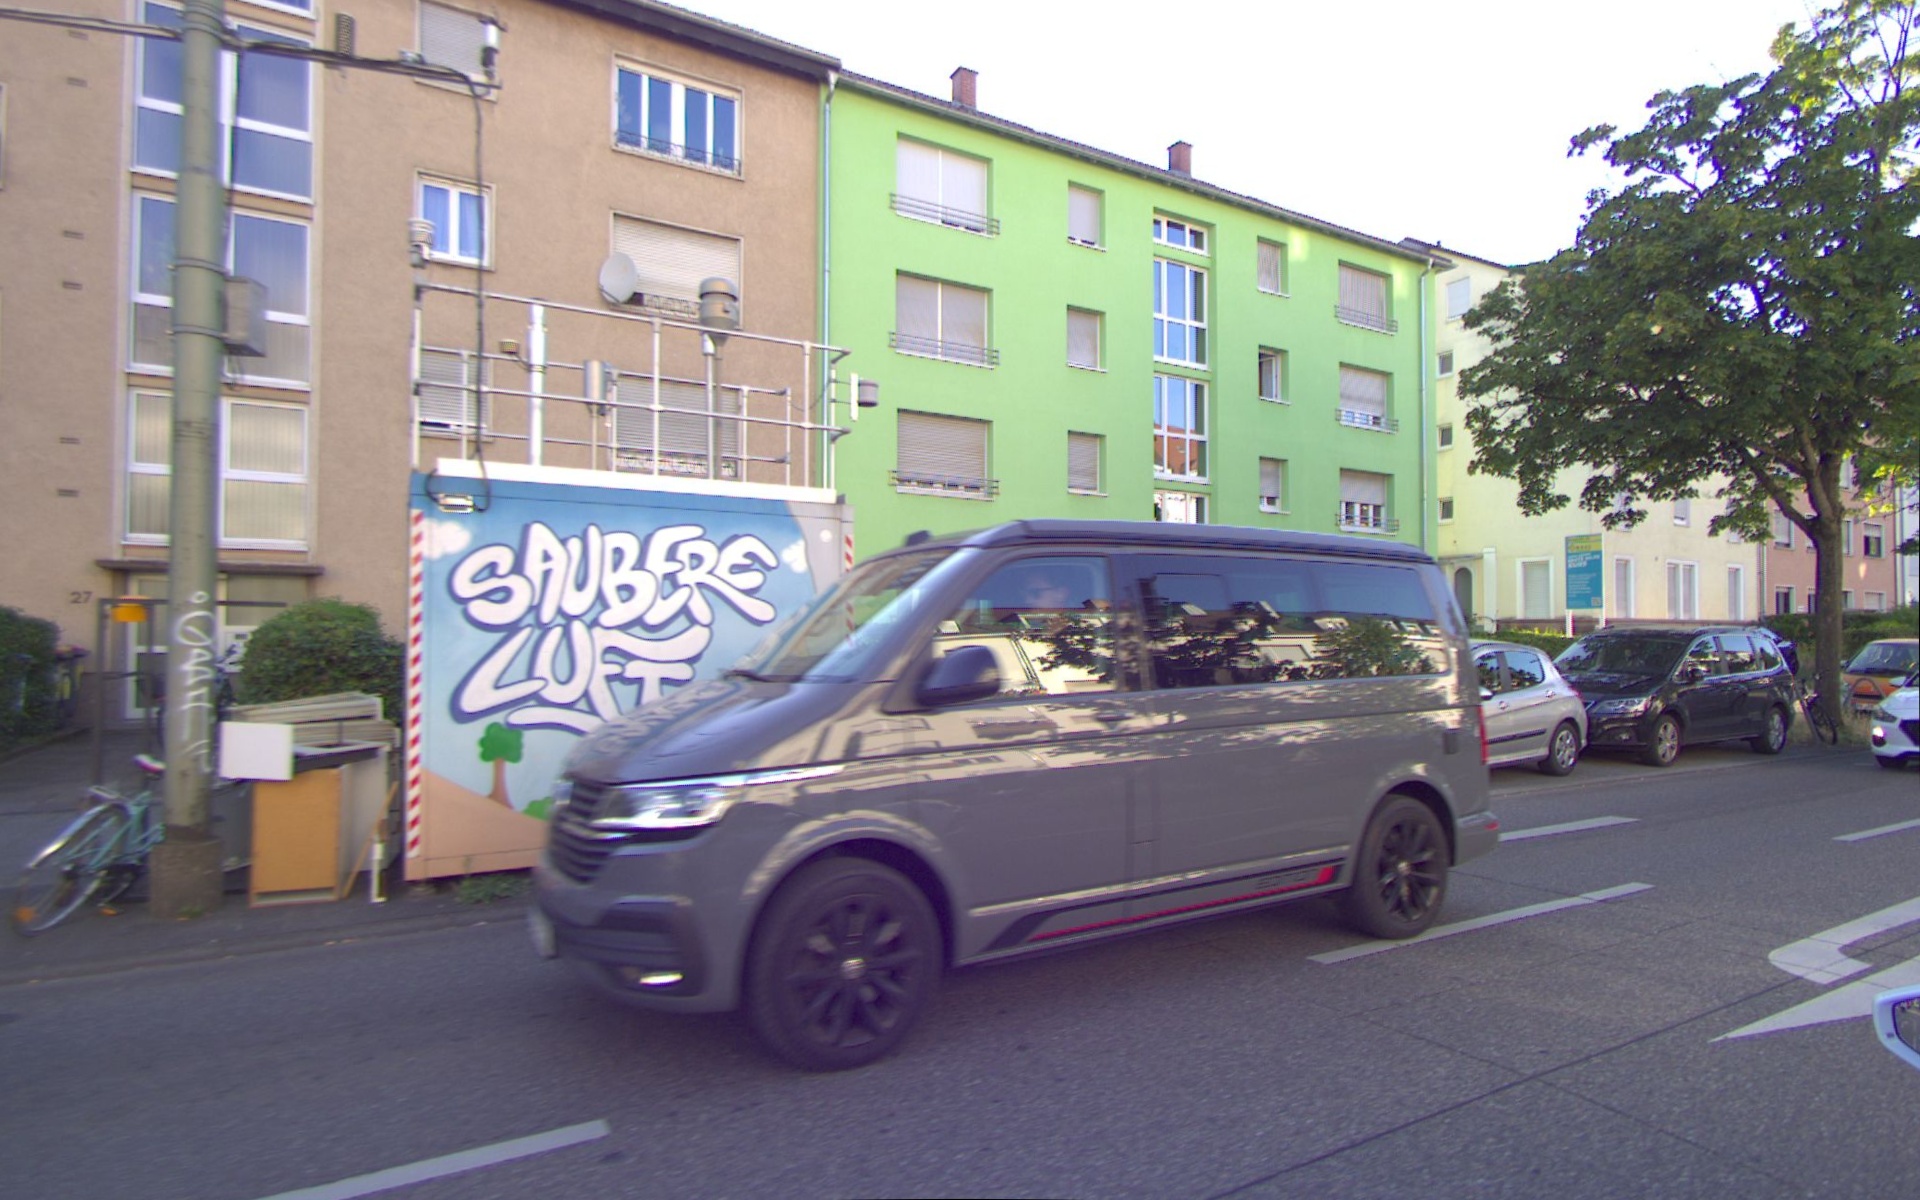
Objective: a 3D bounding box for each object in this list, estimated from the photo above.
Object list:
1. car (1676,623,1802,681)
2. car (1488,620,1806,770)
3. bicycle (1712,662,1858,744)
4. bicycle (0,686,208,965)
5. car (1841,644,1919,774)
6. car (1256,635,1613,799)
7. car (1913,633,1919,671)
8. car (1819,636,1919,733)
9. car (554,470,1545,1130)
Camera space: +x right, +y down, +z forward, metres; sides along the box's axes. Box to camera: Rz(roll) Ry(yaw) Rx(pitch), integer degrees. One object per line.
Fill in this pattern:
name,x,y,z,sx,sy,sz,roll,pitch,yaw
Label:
car,24.449,1.618,31.509,3.954,1.705,1.818,2,-2,-31
car,9.431,1.186,13.713,4.562,1.755,1.776,1,-2,-30
bicycle,12.766,1.564,15.599,0.553,1.104,1.668,1,0,-28
bicycle,-4.725,1.120,5.570,0.576,1.104,1.997,1,0,-28
car,12.736,1.263,12.262,4.064,1.465,1.807,1,-5,-32
car,5.406,1.168,11.301,4.144,1.541,1.674,1,-2,-32
car,37.759,1.987,36.648,1.893,1.432,3.969,1,0,-29
car,17.250,1.477,18.281,2.824,1.638,1.494,1,-2,-27
car,0.610,0.696,5.095,4.722,1.971,1.985,1,-4,-31
